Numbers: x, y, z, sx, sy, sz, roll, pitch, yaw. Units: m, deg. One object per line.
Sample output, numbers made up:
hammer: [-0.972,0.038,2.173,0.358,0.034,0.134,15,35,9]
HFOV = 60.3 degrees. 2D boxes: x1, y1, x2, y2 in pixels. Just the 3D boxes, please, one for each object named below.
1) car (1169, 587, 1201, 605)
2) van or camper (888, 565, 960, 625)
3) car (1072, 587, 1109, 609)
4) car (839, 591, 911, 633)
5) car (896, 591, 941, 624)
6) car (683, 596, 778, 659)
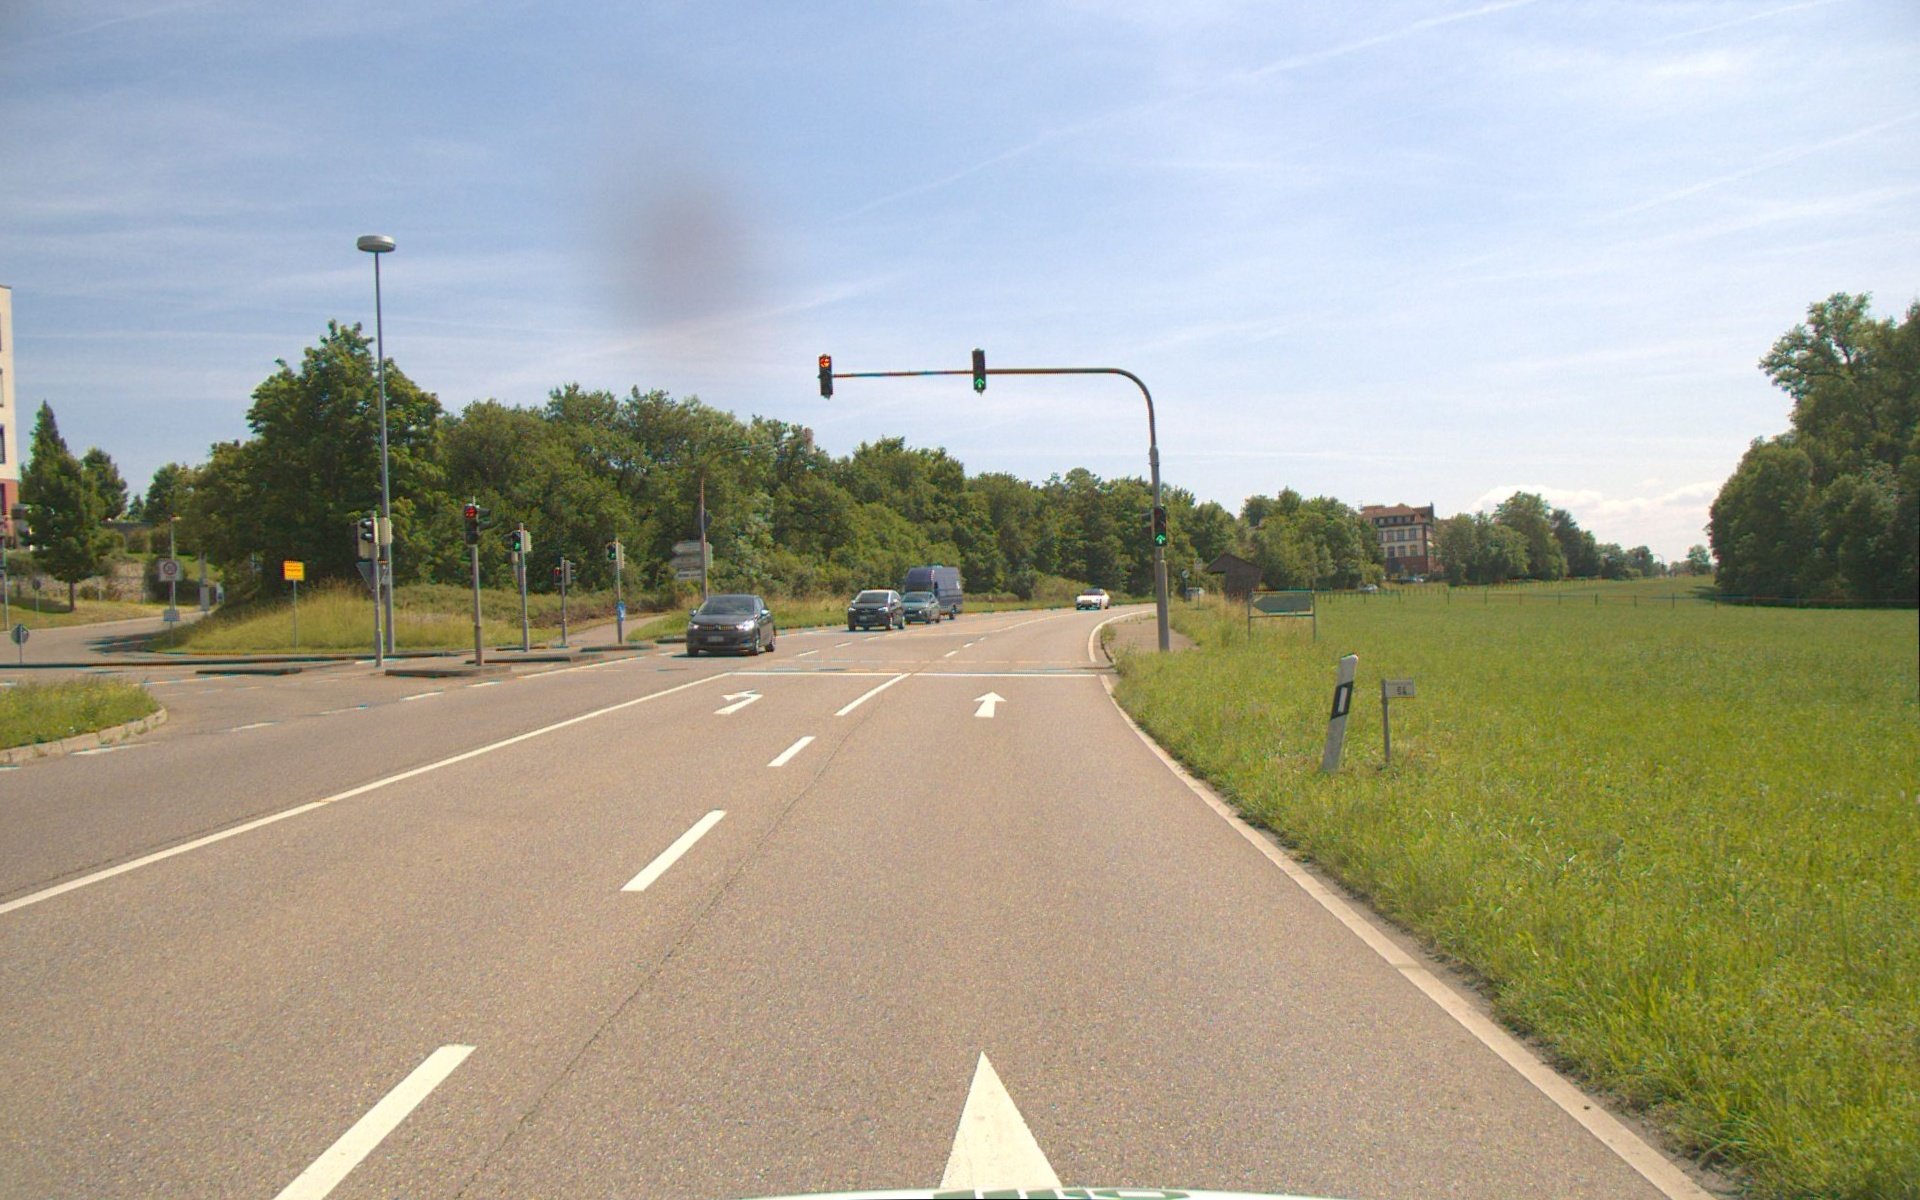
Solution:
car: [20.157,-0.359,148.042,1.952,1.601,4.001,-1,0,20]
van or camper: [-1.839,-0.335,87.347,2.192,2.964,7.254,-1,1,12]
car: [10.047,-0.160,127.066,1.896,1.575,4.630,-1,0,17]
car: [-3.335,0.476,65.602,1.932,1.589,4.193,-1,0,10]
car: [-1.940,0.338,78.409,1.671,1.509,3.834,-1,0,5]
car: [-5.740,0.658,41.801,1.754,1.500,4.310,-1,0,0]
